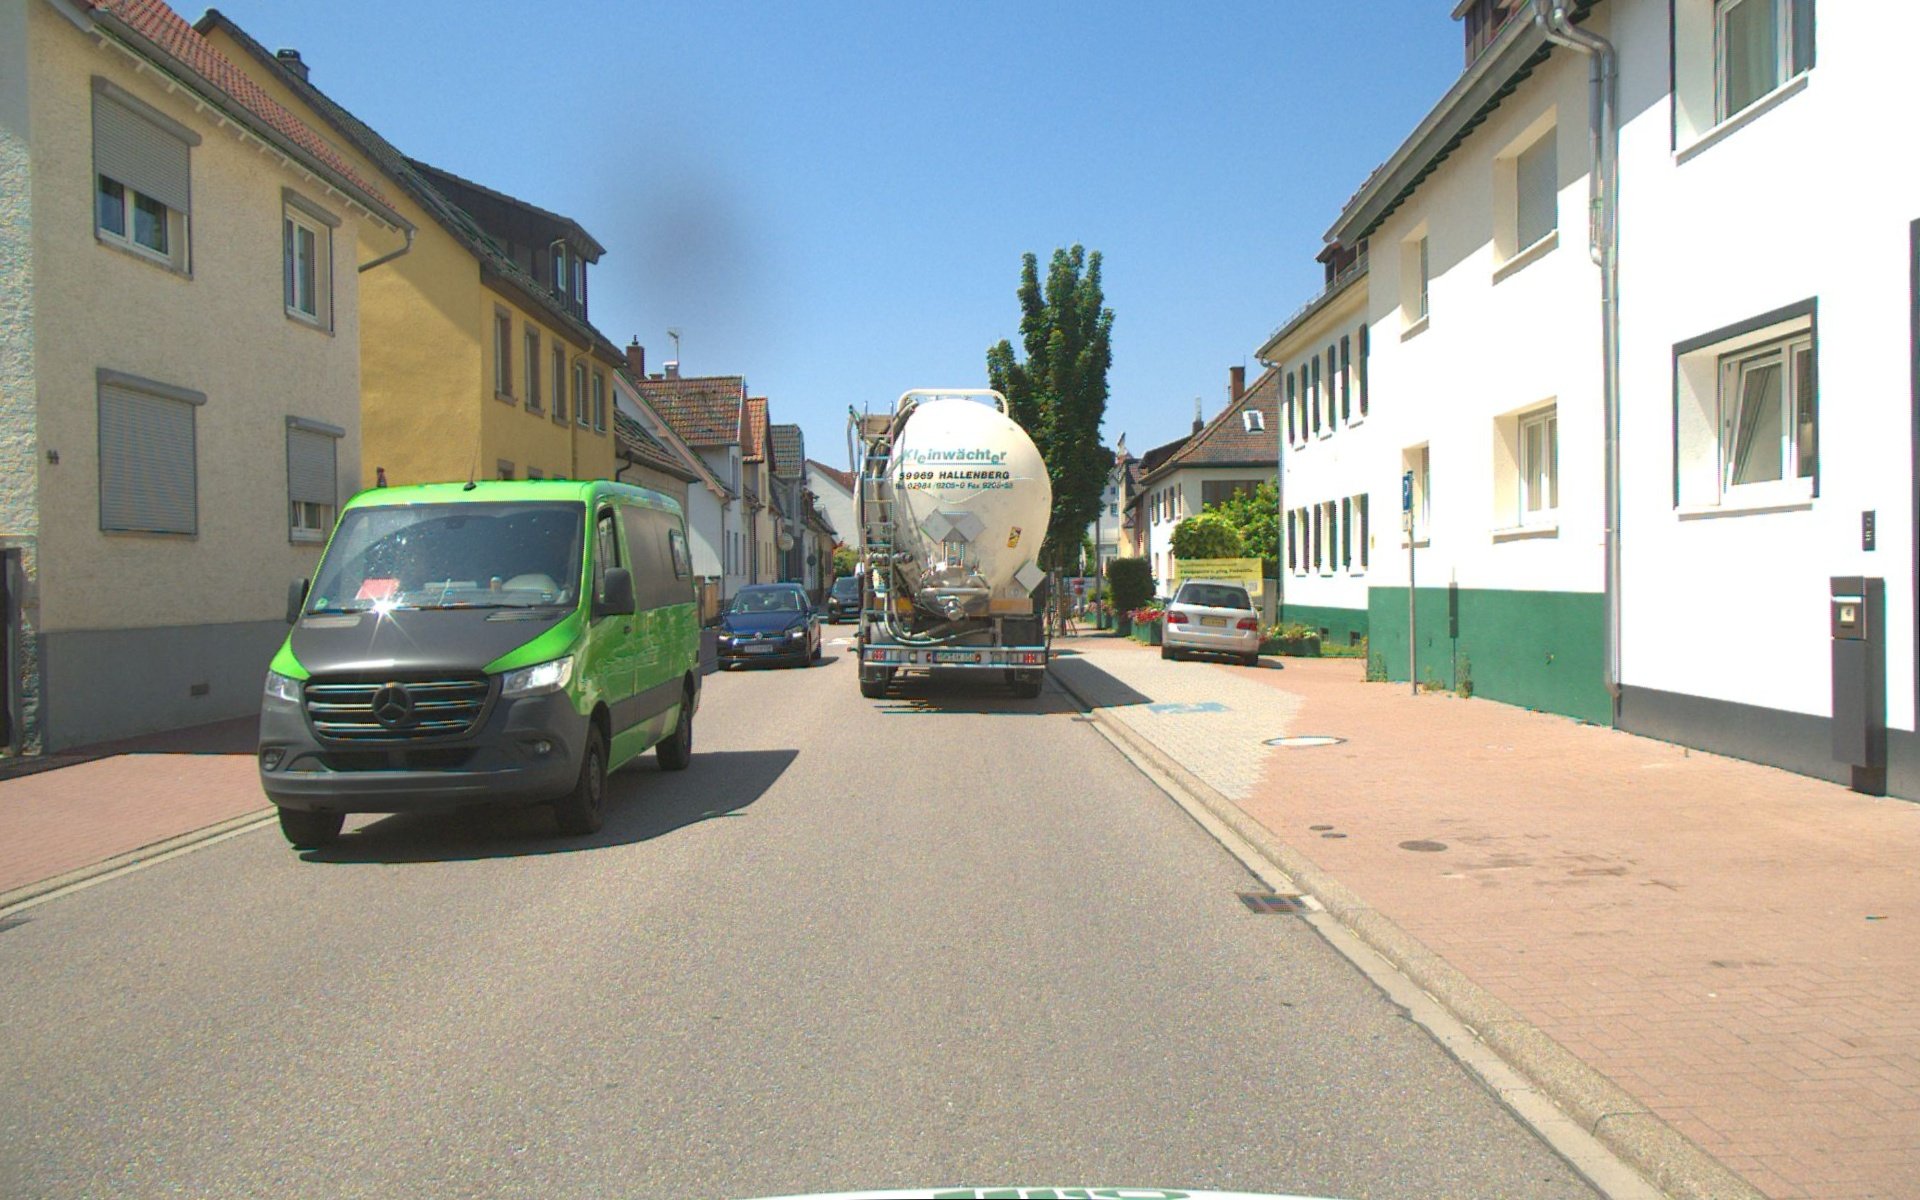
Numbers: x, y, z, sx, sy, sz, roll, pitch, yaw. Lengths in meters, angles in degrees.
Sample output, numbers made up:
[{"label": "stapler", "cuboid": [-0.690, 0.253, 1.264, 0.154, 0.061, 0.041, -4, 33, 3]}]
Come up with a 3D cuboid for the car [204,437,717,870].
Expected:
[{"label": "car", "cuboid": [-3.272, 0.268, 12.414, 2.009, 2.394, 6.081, -2, 1, -1]}]

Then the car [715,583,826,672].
[{"label": "car", "cuboid": [-3.623, 0.482, 32.278, 1.729, 1.563, 4.077, -2, 1, -1]}]

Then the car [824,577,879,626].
[{"label": "car", "cuboid": [-3.999, 0.035, 61.440, 1.802, 1.699, 4.323, -2, 1, -1]}]

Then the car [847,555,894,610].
[{"label": "car", "cuboid": [-4.297, -0.866, 80.395, 2.027, 2.498, 6.006, -2, 1, -1]}]

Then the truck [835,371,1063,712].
[{"label": "truck", "cuboid": [-0.254, -0.691, 23.791, 2.677, 4.029, 8.138, 1, 0, -2]}]

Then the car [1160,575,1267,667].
[{"label": "car", "cuboid": [4.764, 0.323, 31.376, 1.776, 1.488, 4.889, 4, 1, 8]}]

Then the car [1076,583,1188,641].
[{"label": "car", "cuboid": [6.835, 0.464, 66.033, 4.089, 1.613, 1.907, 9, 0, 0]}]
